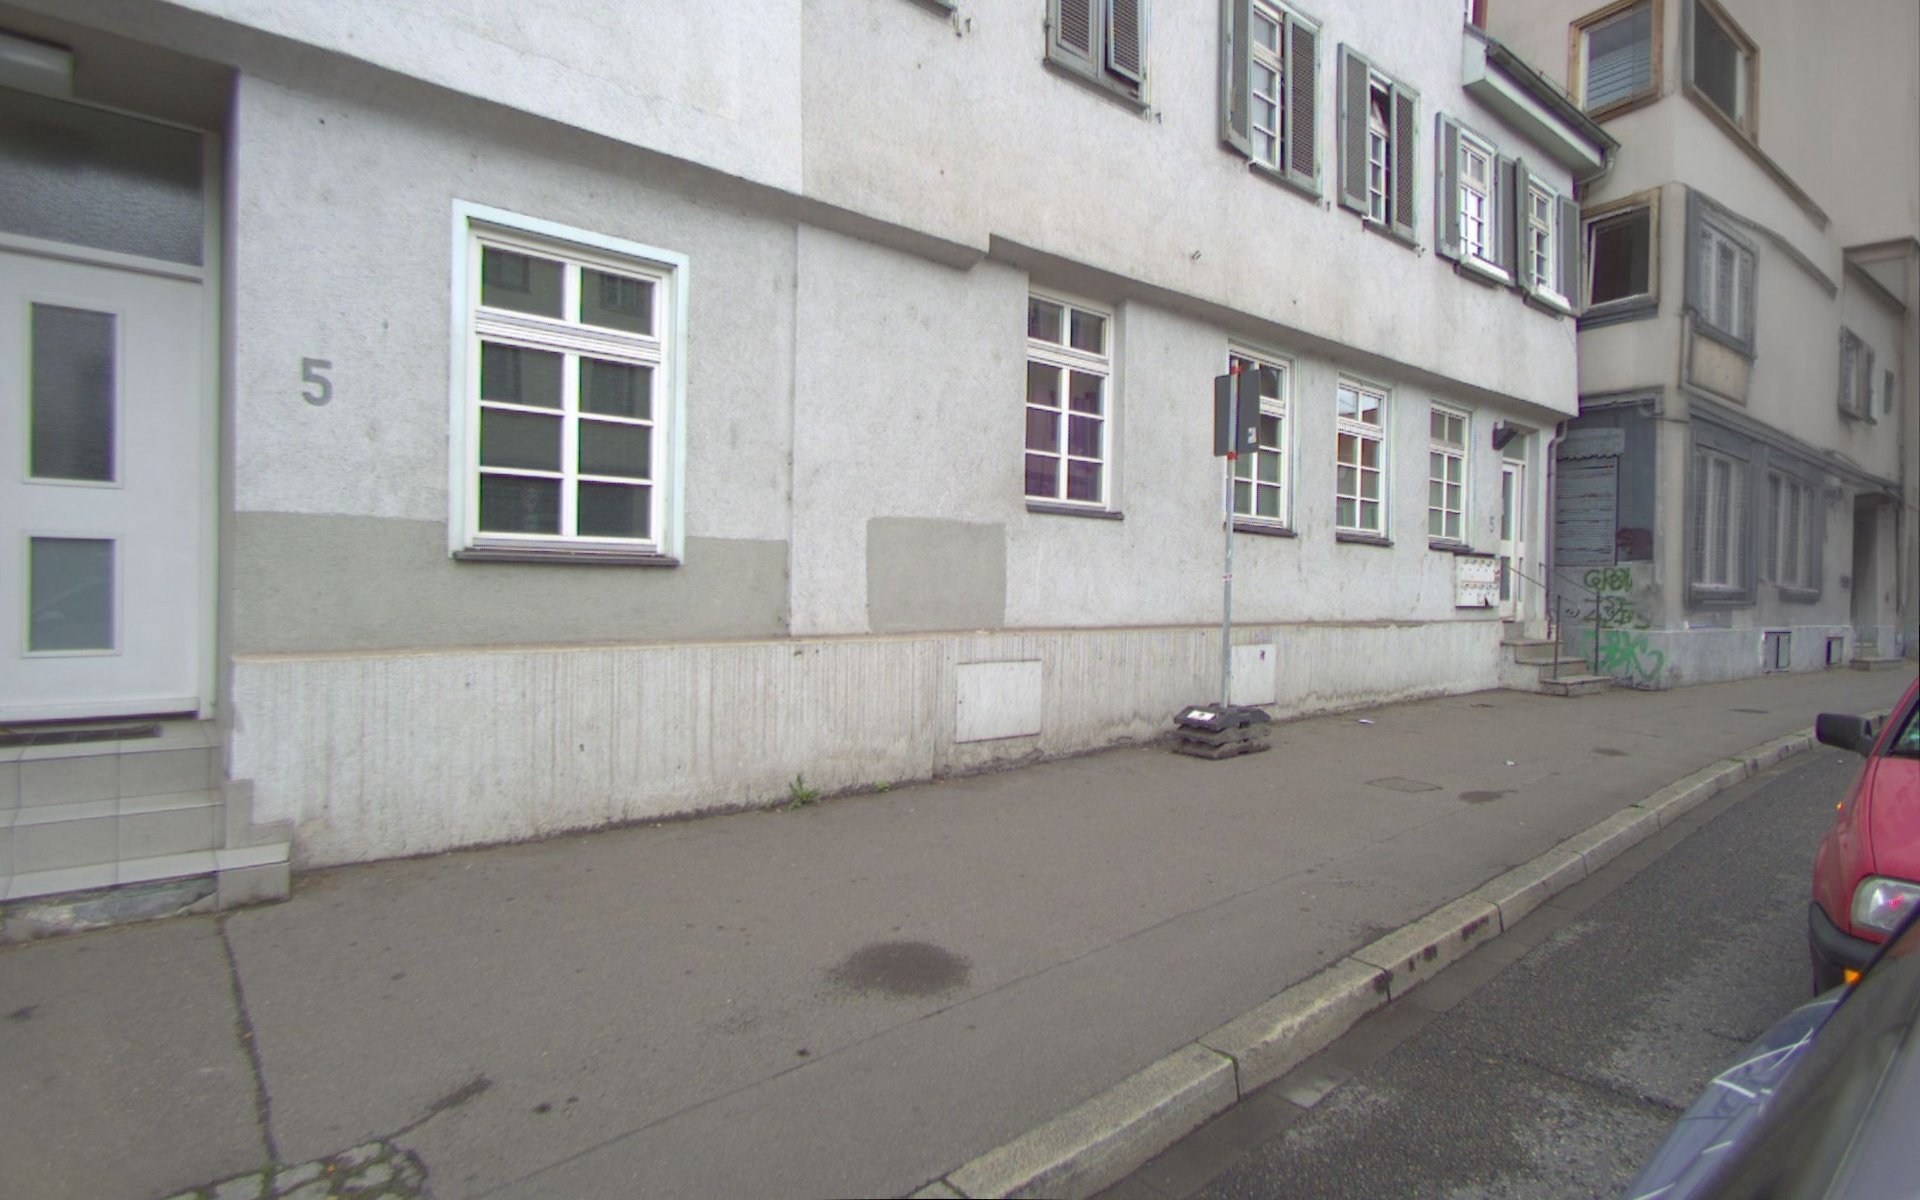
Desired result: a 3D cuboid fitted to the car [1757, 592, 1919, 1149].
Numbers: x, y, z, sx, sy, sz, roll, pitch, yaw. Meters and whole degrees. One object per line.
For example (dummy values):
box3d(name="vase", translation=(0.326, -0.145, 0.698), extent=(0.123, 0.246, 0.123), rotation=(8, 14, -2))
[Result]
box3d(name="car", translation=(4.354, 0.705, 3.560), extent=(3.931, 1.443, 1.790), rotation=(-1, 1, -42))
